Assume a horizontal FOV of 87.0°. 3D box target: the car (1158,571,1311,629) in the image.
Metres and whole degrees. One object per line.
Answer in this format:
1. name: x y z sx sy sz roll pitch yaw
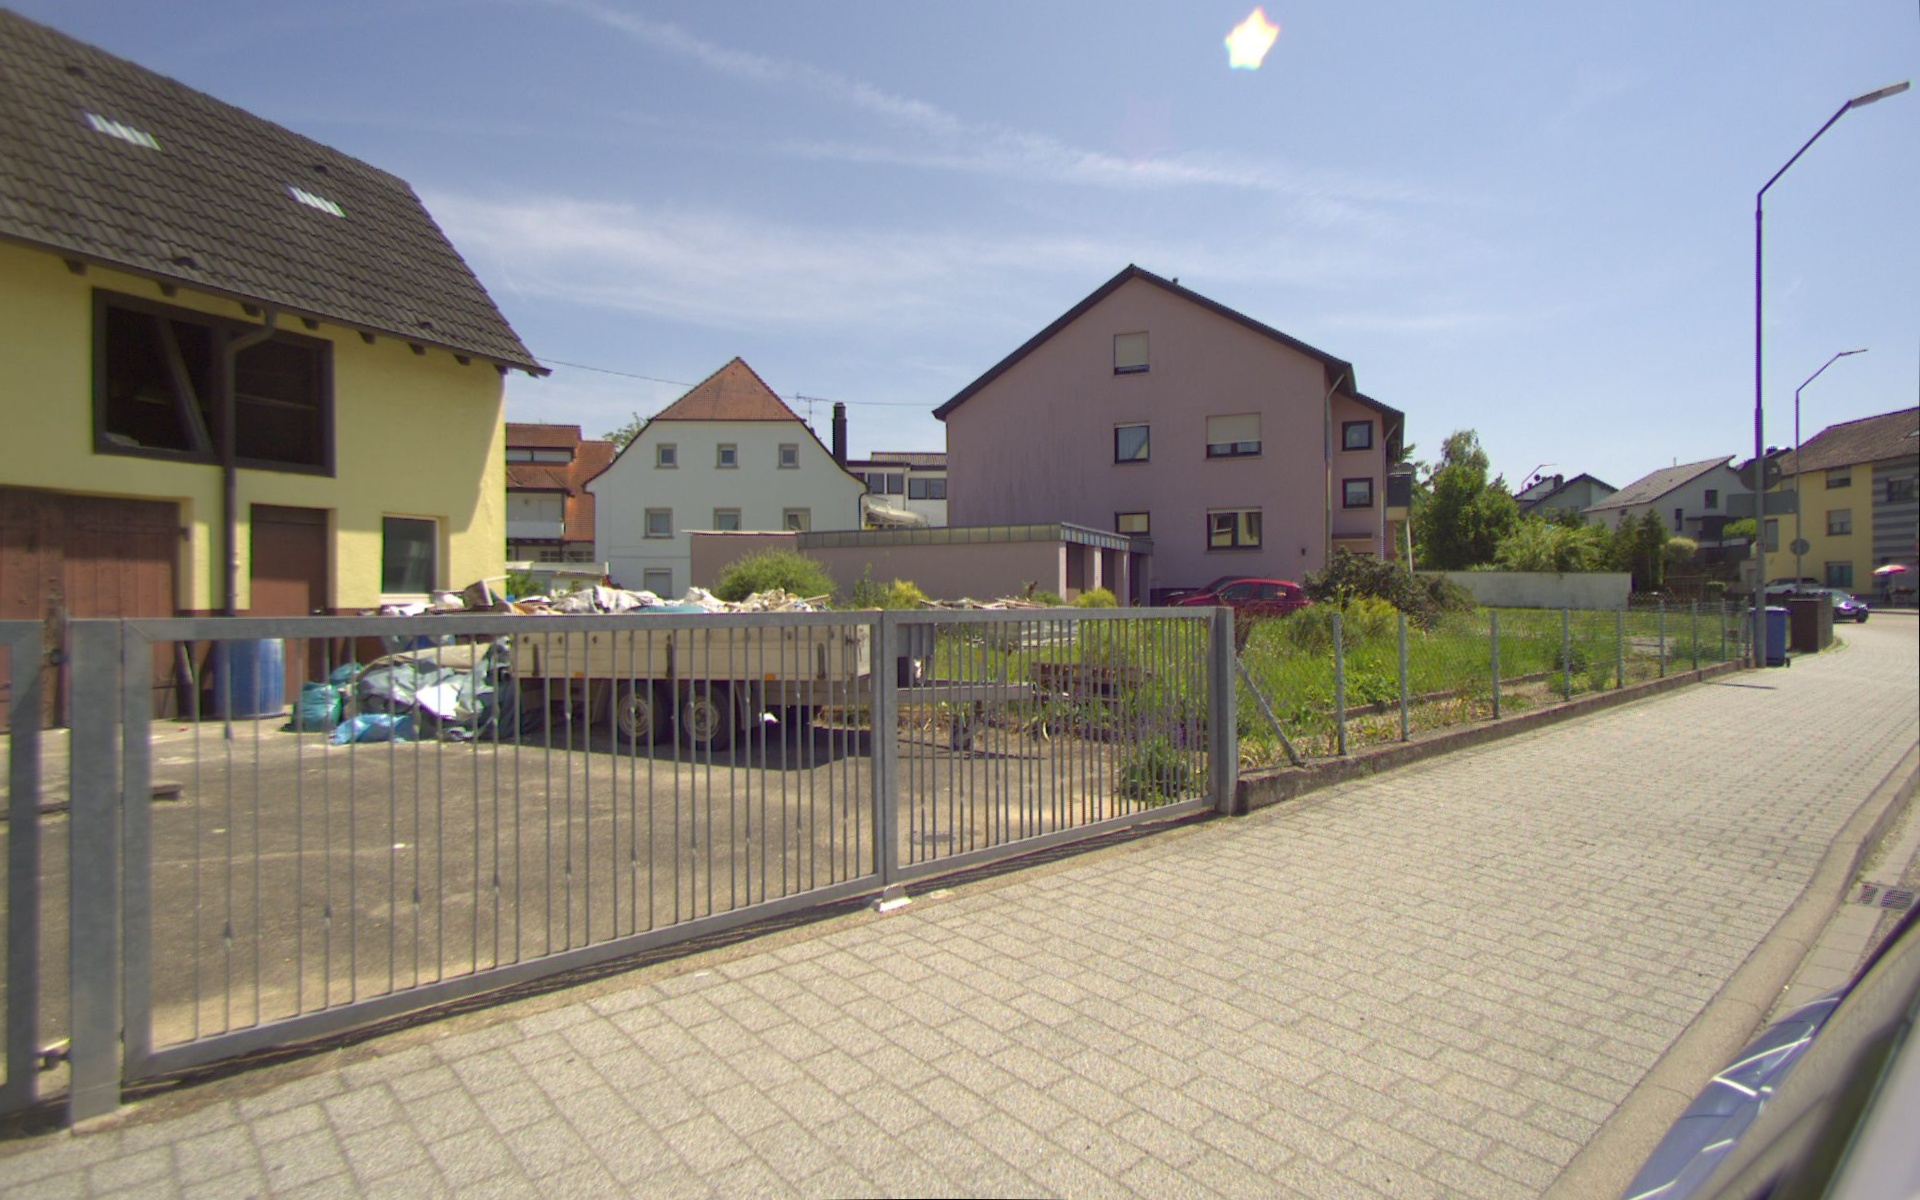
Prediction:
1. car: 7.917 0.010 29.204 4.076 1.567 1.838 -1 0 22

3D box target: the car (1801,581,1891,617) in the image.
1. car: 36.879 -0.027 42.251 1.880 1.393 3.961 -2 0 28

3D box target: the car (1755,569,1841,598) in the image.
1. car: 48.796 -0.974 59.020 1.705 1.571 4.184 -1 1 5

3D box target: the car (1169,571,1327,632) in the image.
1. car: 7.570 0.008 26.615 3.798 1.504 1.746 1 1 26

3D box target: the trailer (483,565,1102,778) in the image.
1. trailer: -1.524 0.575 9.357 5.296 1.565 2.125 -2 0 20

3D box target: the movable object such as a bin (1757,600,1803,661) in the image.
1. movable object such as a bin: 14.794 0.542 18.270 0.562 1.071 0.643 0 1 33
